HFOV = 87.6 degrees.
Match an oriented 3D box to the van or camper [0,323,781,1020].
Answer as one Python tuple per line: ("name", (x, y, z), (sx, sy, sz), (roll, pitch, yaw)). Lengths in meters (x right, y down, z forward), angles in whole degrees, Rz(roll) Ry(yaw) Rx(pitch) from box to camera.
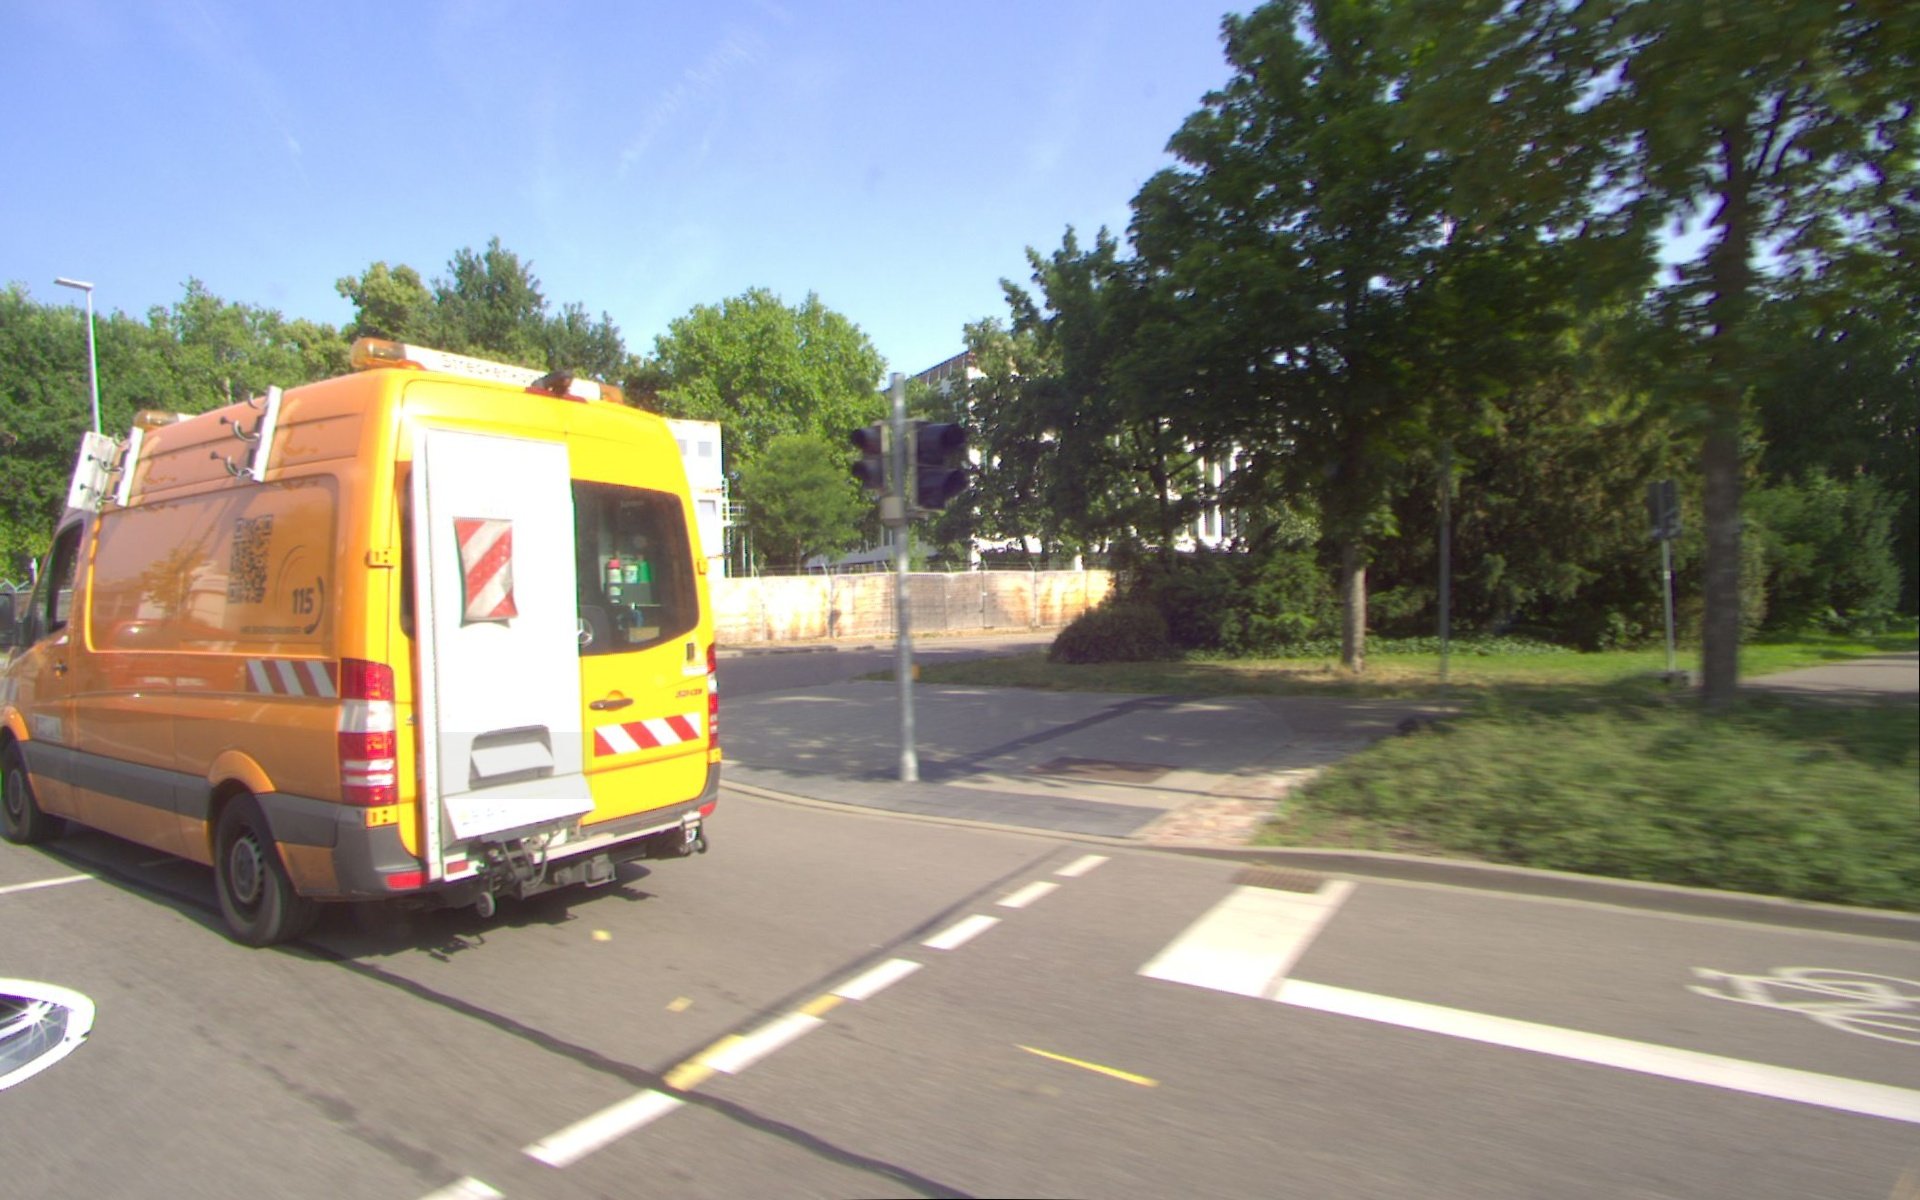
("van or camper", (-3.944, 0.295, 6.136), (5.979, 2.504, 1.981), (0, -1, 35))

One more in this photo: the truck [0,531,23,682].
("truck", (-23.424, 0.192, 21.376), (7.696, 3.100, 2.502), (-1, -1, 27))
